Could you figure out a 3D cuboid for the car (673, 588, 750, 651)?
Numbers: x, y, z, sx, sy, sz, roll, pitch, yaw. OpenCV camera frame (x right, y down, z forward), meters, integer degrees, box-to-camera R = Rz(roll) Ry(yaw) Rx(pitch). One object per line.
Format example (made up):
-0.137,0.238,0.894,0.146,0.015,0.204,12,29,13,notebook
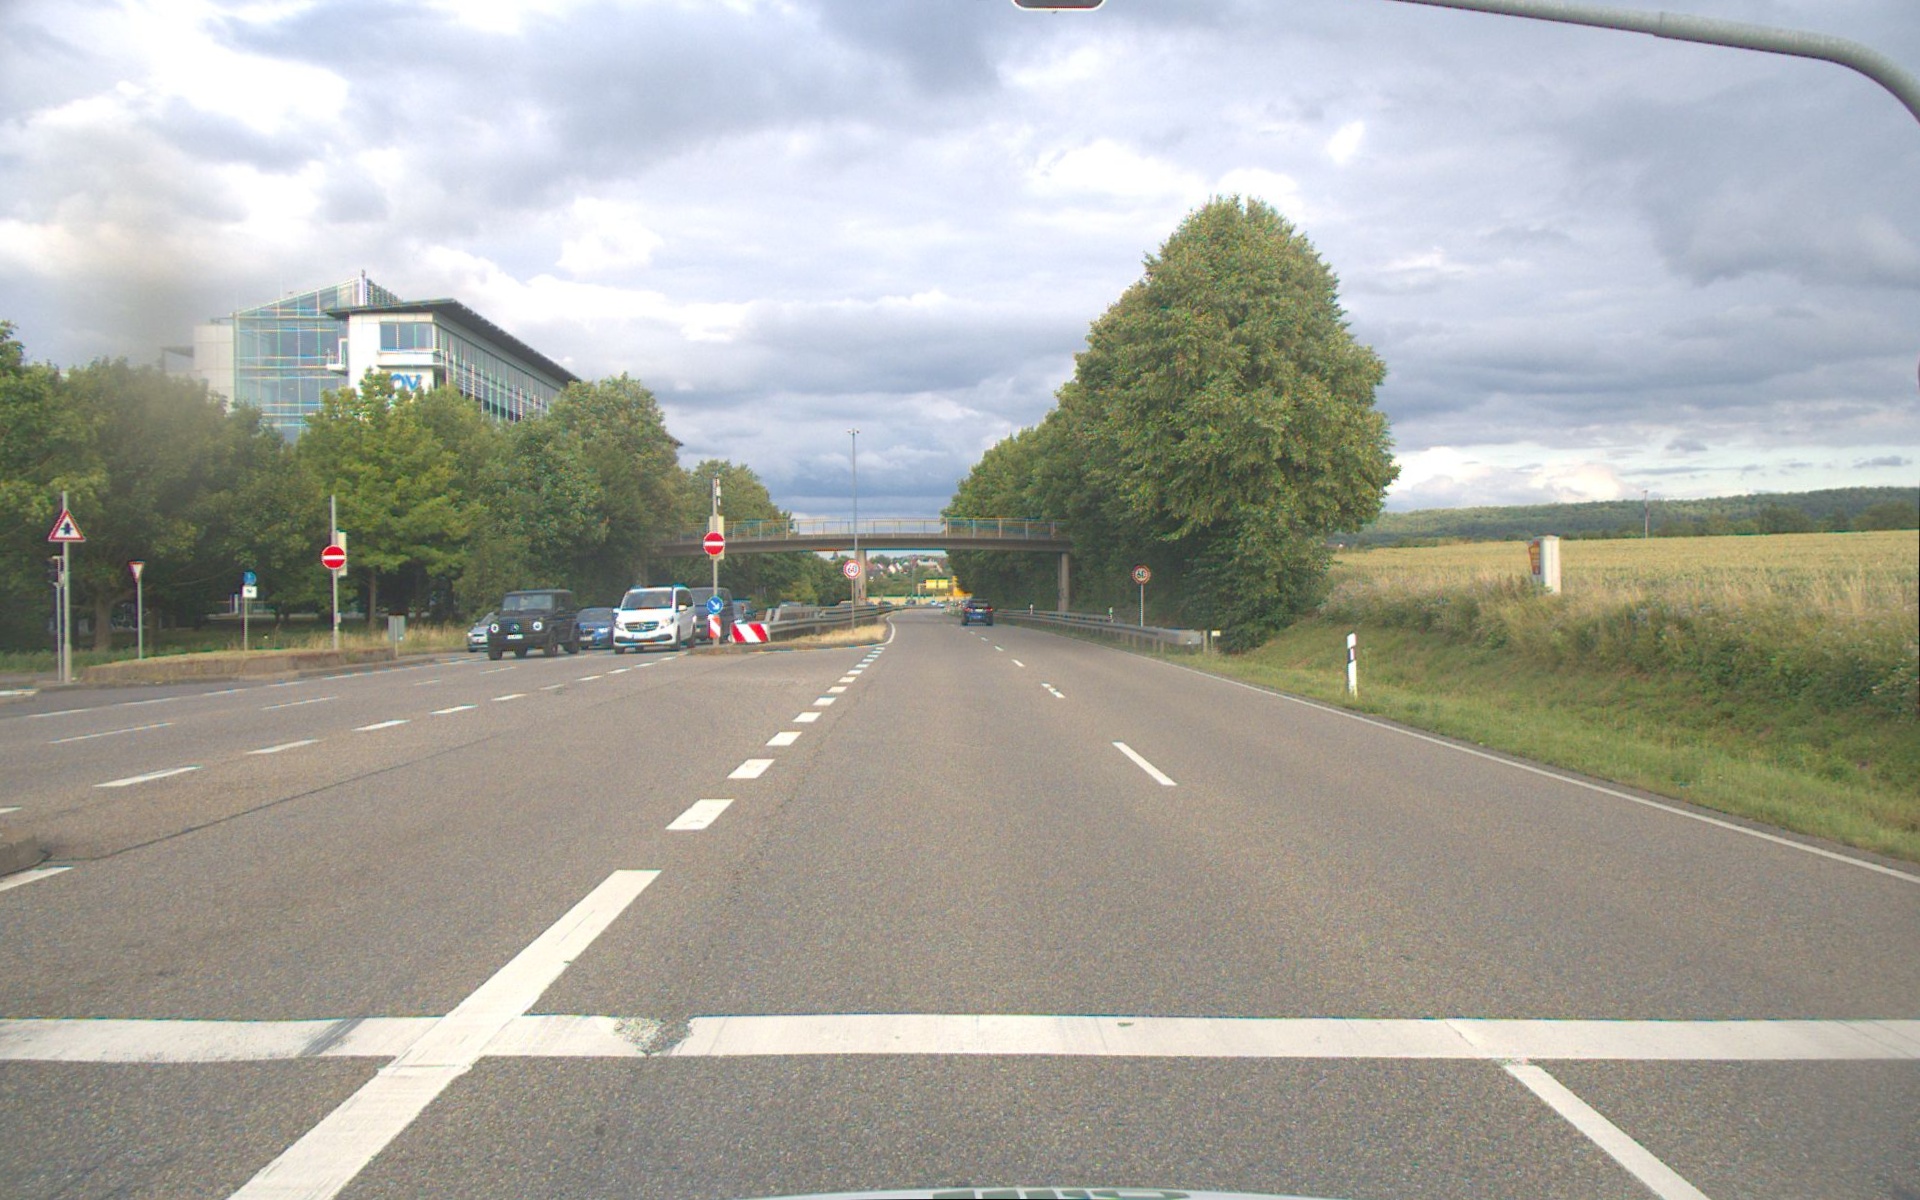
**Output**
-8.632,0.662,57.788,2.041,2.049,5.214,1,0,-2,car

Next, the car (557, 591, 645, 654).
-12.396,0.752,57.379,2.041,2.049,5.214,1,0,-2,car

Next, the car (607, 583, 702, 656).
-9.164,0.563,50.044,2.041,2.049,5.214,1,0,-2,car

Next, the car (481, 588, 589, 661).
-12.723,0.703,49.873,2.041,2.049,5.214,1,0,-2,car

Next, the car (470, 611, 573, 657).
-15.794,1.193,59.754,1.549,1.365,3.750,-4,1,23,car

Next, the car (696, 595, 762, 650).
-9.078,0.865,65.345,2.041,2.049,5.214,1,0,-2,car

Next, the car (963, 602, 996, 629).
1.154,0.934,99.462,1.841,1.579,3.999,1,0,0,car
